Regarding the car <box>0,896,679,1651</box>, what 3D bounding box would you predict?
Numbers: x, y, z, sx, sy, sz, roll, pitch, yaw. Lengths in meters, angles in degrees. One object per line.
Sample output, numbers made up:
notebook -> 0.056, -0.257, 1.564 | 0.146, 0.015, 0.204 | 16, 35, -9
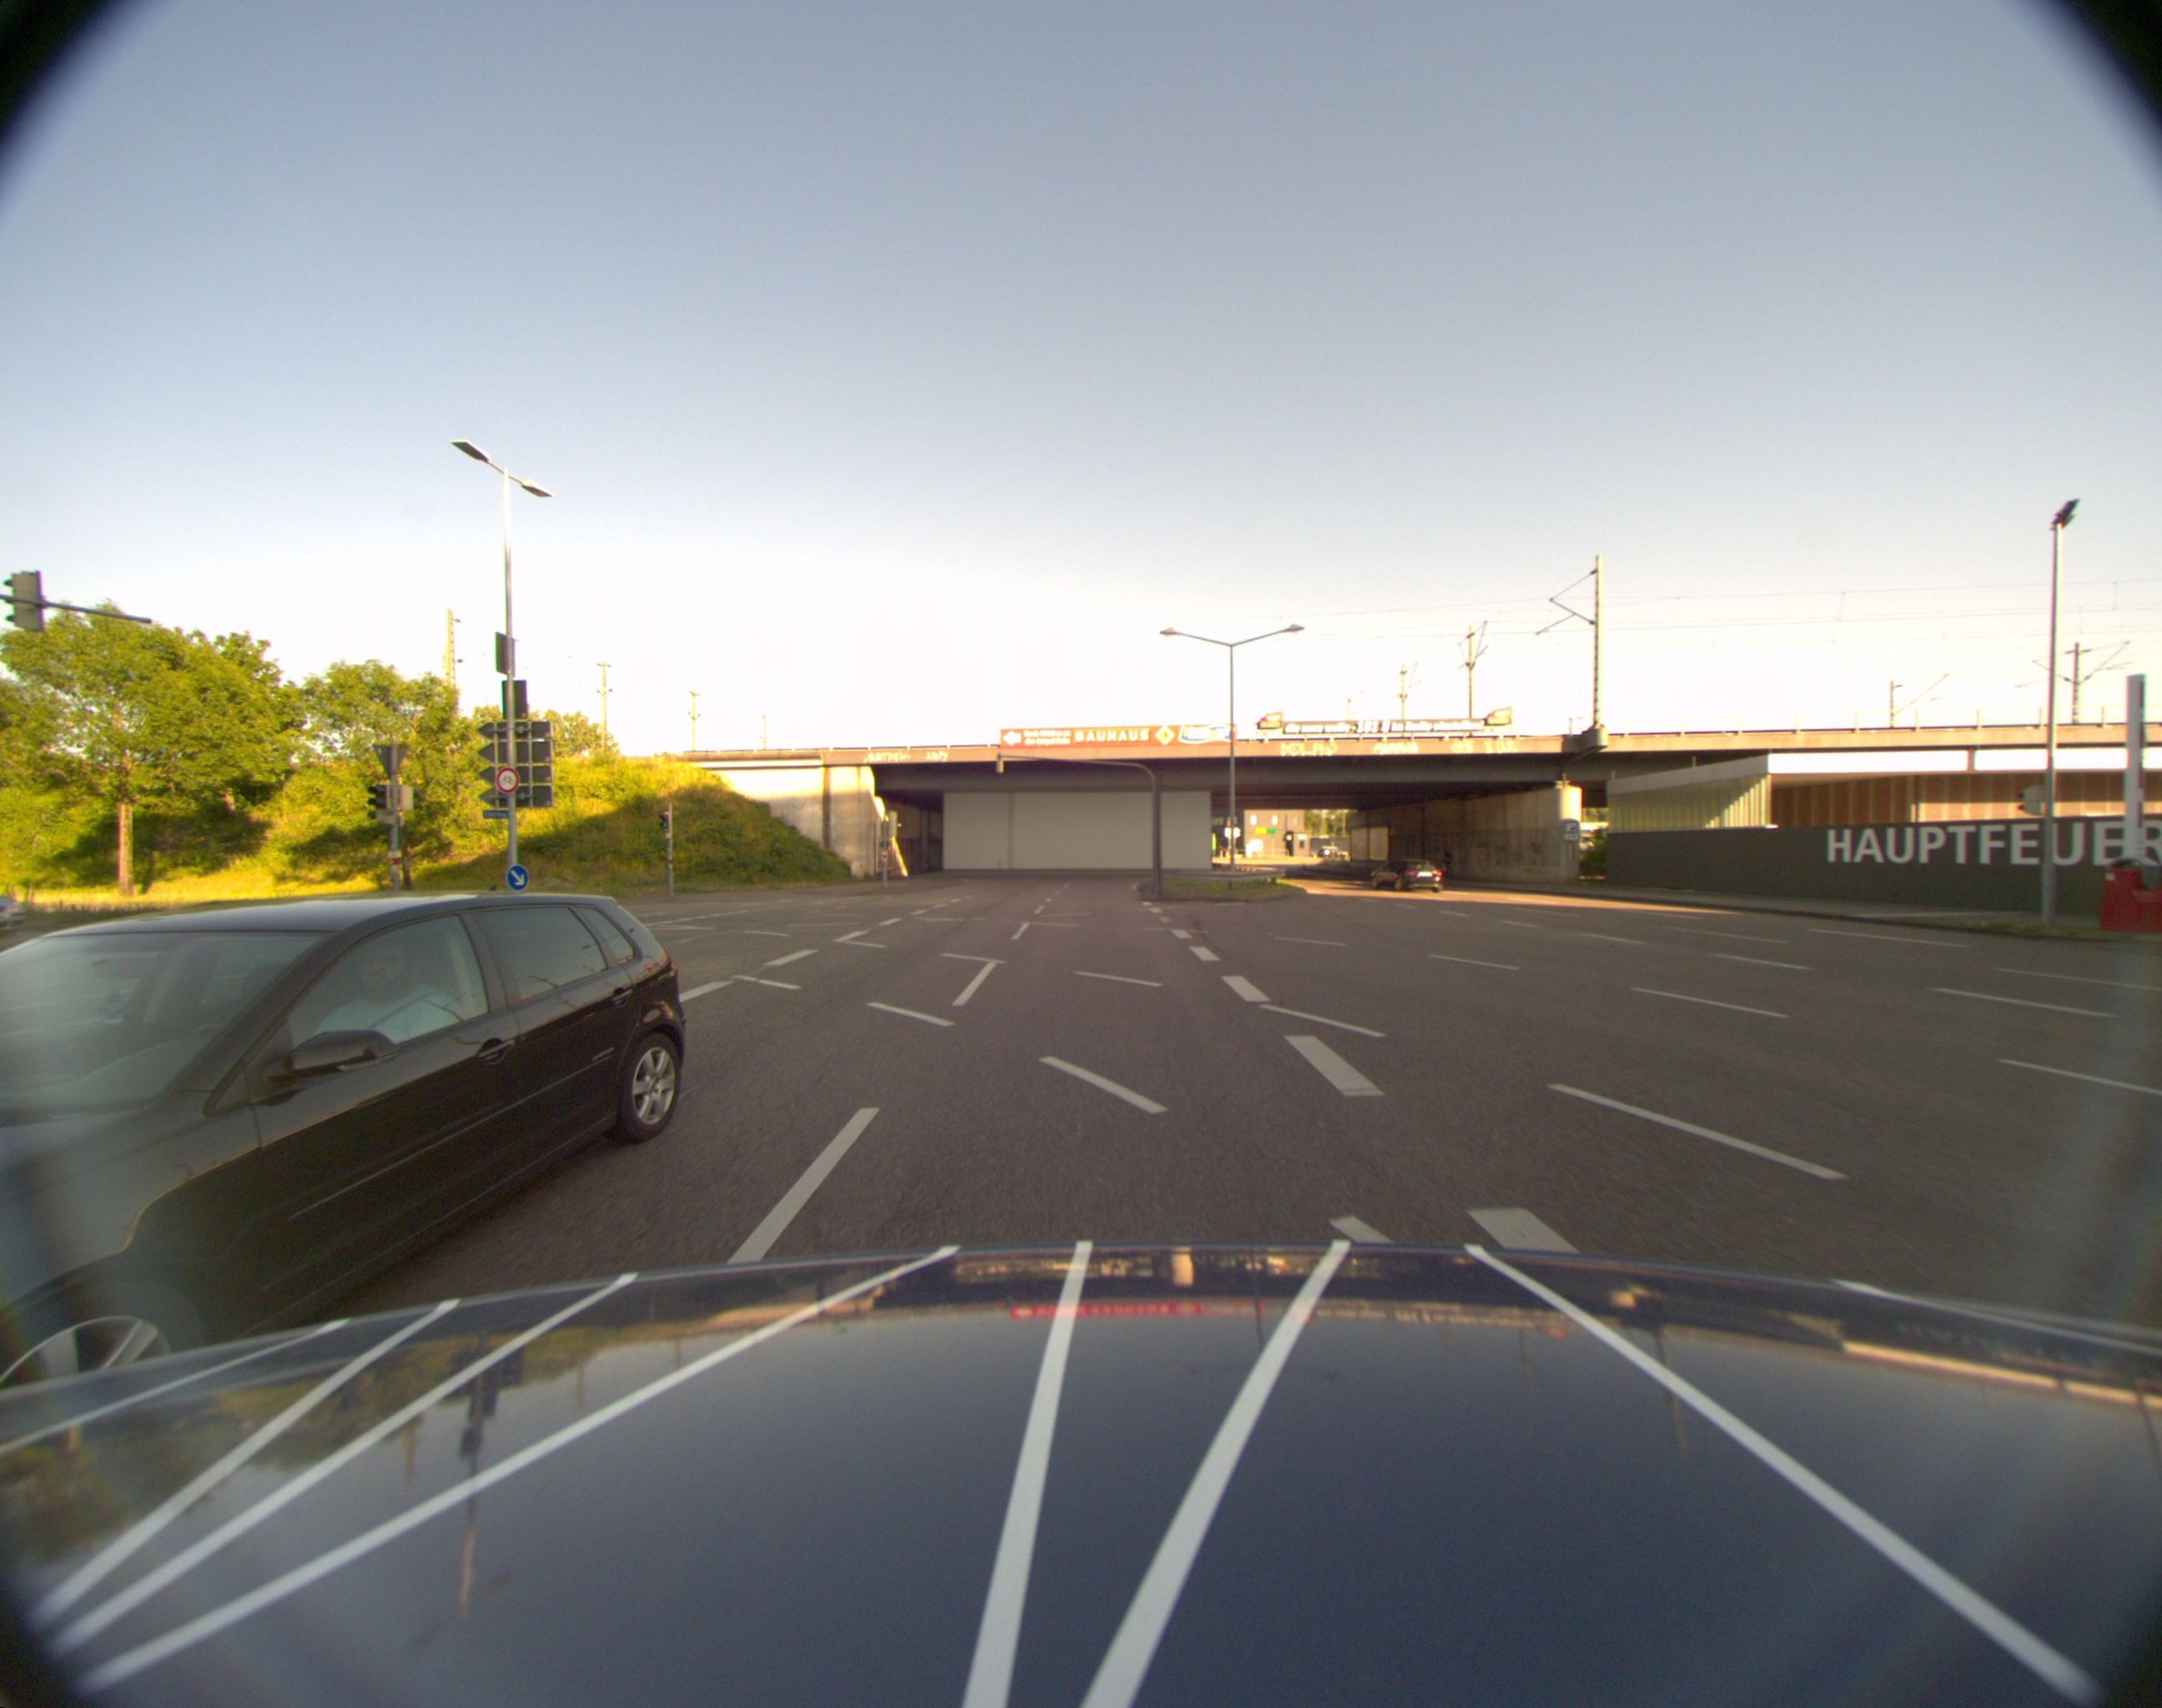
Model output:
car -> -3.172, 1.015, 2.603 | 1.621, 1.402, 3.681 | -2, 1, -1

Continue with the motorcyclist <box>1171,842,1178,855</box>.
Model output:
motorcyclist -> 10.726, -0.646, 87.184 | 0.683, 1.416, 0.867 | -2, 2, 4

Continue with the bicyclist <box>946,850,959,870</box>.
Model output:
bicyclist -> -9.410, 0.400, 55.718 | 0.843, 1.413, 1.113 | -2, 2, -8

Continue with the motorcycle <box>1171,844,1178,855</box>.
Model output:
motorcycle -> 10.729, -0.536, 87.181 | 0.682, 1.150, 2.239 | -2, 2, 4

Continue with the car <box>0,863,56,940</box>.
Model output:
car -> -23.816, 1.034, 15.223 | 3.996, 1.521, 1.890 | -2, 2, 2

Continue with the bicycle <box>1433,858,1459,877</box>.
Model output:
bicycle -> 21.845, 0.796, 45.525 | 0.706, 1.149, 2.081 | -2, 0, 5

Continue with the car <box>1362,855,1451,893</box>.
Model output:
car -> 14.419, 0.845, 33.962 | 1.999, 1.393, 4.347 | 3, 1, -1

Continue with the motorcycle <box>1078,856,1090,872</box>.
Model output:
motorcycle -> 0.195, 0.736, 54.636 | 0.811, 1.040, 2.352 | -2, 1, 1

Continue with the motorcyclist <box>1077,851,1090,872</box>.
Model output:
motorcyclist -> 0.173, 0.529, 54.635 | 0.839, 1.434, 0.878 | -2, 2, 1

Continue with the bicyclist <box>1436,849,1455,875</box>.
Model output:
bicyclist -> 21.836, 0.469, 45.534 | 0.726, 1.555, 0.939 | -2, 2, 5

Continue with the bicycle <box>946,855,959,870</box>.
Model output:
bicycle -> -9.416, 0.620, 55.798 | 0.783, 1.051, 2.494 | -2, 2, -8
